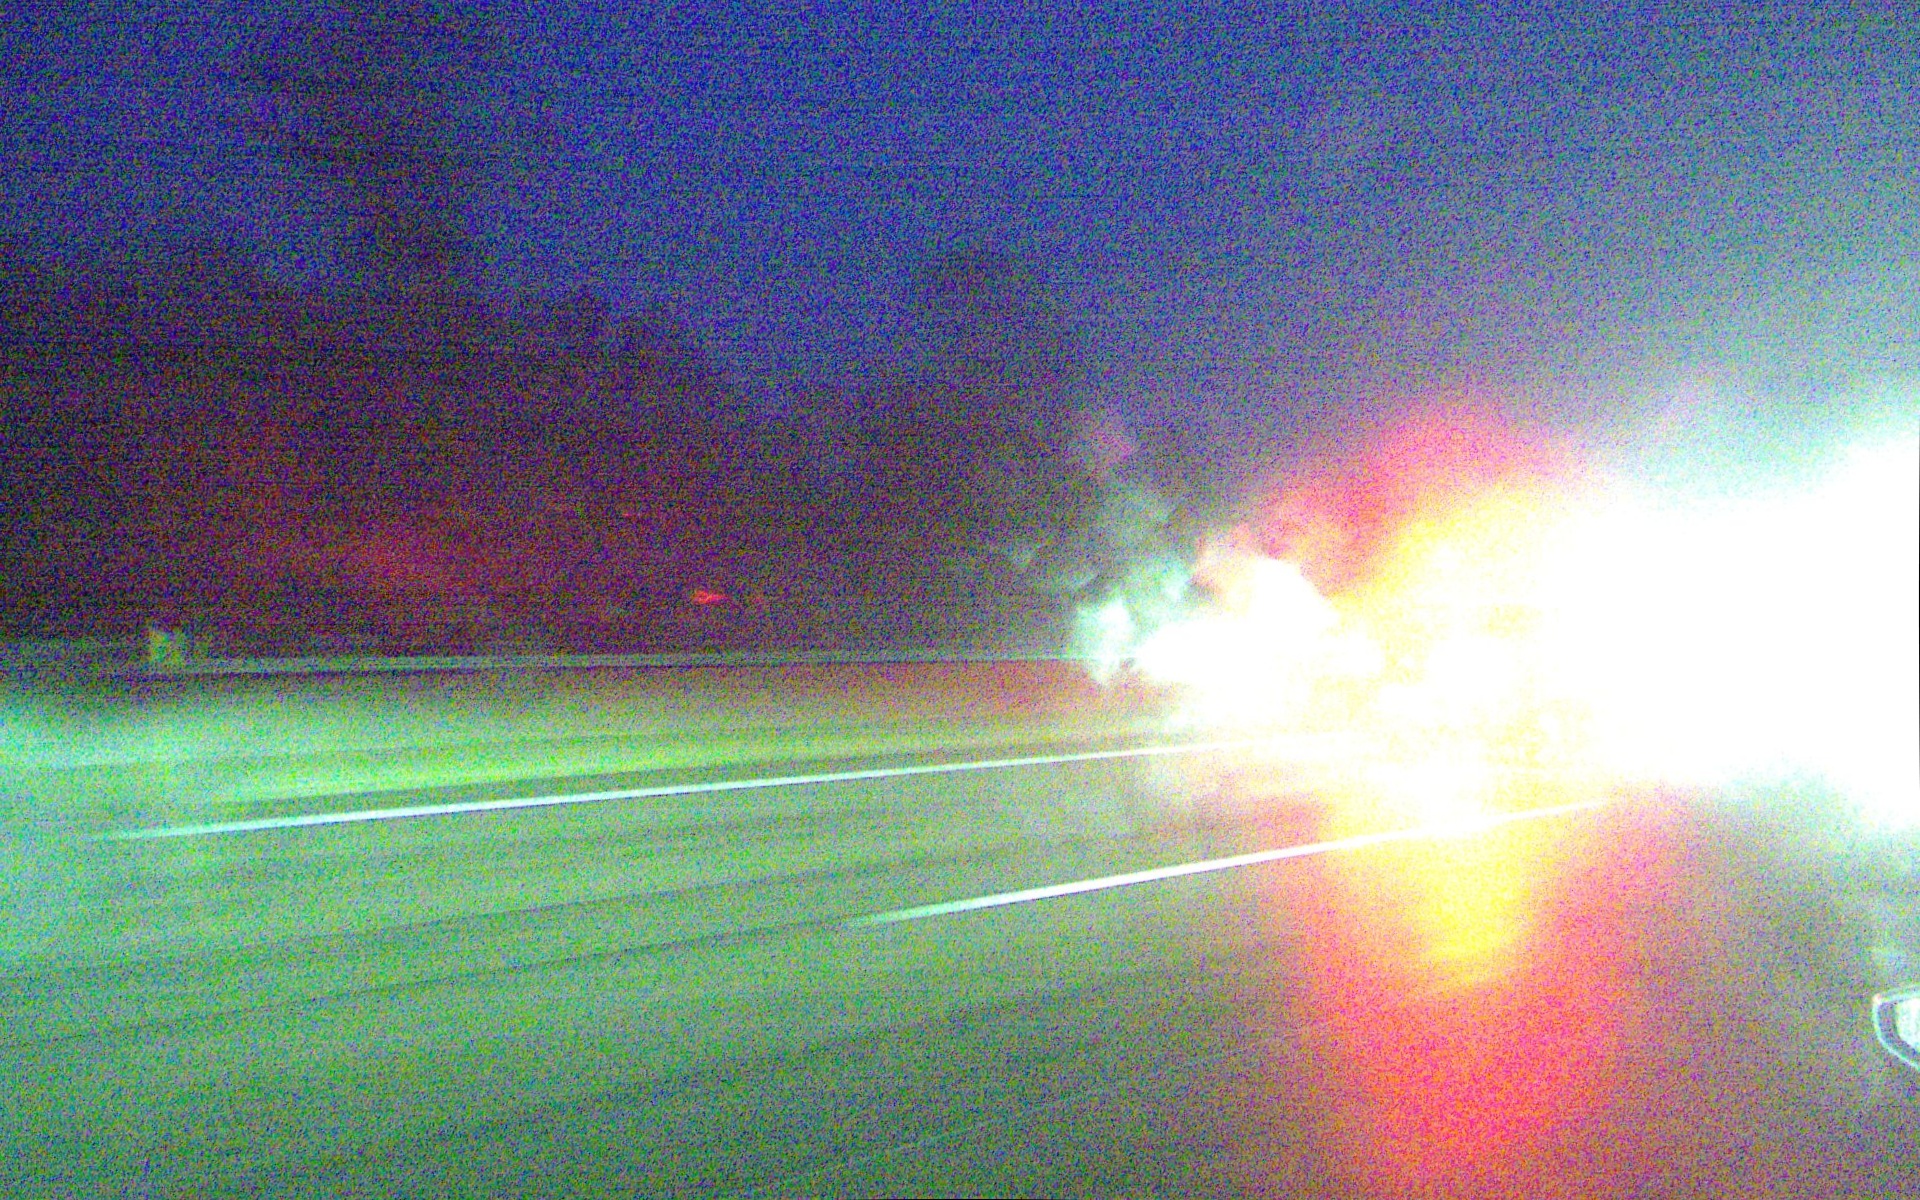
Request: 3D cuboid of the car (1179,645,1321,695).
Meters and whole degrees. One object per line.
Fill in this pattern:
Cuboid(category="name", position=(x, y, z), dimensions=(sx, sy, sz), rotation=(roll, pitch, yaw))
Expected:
Cuboid(category="car", position=(7.853, 1.885, 27.130), dimensions=(3.720, 1.252, 1.653), rotation=(3, -3, -32))

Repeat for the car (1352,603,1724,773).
Cuboid(category="car", position=(6.799, 0.893, 11.635), dimensions=(4.702, 1.561, 1.846), rotation=(2, 1, -34))

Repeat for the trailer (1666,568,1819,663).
Cuboid(category="trailer", position=(43.327, 1.065, 55.351), dimensions=(13.775, 4.603, 2.533), rotation=(3, -3, -34))

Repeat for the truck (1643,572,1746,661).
Cuboid(category="truck", position=(37.678, 0.920, 51.481), dimensions=(5.584, 4.209, 2.522), rotation=(3, -3, -34))
